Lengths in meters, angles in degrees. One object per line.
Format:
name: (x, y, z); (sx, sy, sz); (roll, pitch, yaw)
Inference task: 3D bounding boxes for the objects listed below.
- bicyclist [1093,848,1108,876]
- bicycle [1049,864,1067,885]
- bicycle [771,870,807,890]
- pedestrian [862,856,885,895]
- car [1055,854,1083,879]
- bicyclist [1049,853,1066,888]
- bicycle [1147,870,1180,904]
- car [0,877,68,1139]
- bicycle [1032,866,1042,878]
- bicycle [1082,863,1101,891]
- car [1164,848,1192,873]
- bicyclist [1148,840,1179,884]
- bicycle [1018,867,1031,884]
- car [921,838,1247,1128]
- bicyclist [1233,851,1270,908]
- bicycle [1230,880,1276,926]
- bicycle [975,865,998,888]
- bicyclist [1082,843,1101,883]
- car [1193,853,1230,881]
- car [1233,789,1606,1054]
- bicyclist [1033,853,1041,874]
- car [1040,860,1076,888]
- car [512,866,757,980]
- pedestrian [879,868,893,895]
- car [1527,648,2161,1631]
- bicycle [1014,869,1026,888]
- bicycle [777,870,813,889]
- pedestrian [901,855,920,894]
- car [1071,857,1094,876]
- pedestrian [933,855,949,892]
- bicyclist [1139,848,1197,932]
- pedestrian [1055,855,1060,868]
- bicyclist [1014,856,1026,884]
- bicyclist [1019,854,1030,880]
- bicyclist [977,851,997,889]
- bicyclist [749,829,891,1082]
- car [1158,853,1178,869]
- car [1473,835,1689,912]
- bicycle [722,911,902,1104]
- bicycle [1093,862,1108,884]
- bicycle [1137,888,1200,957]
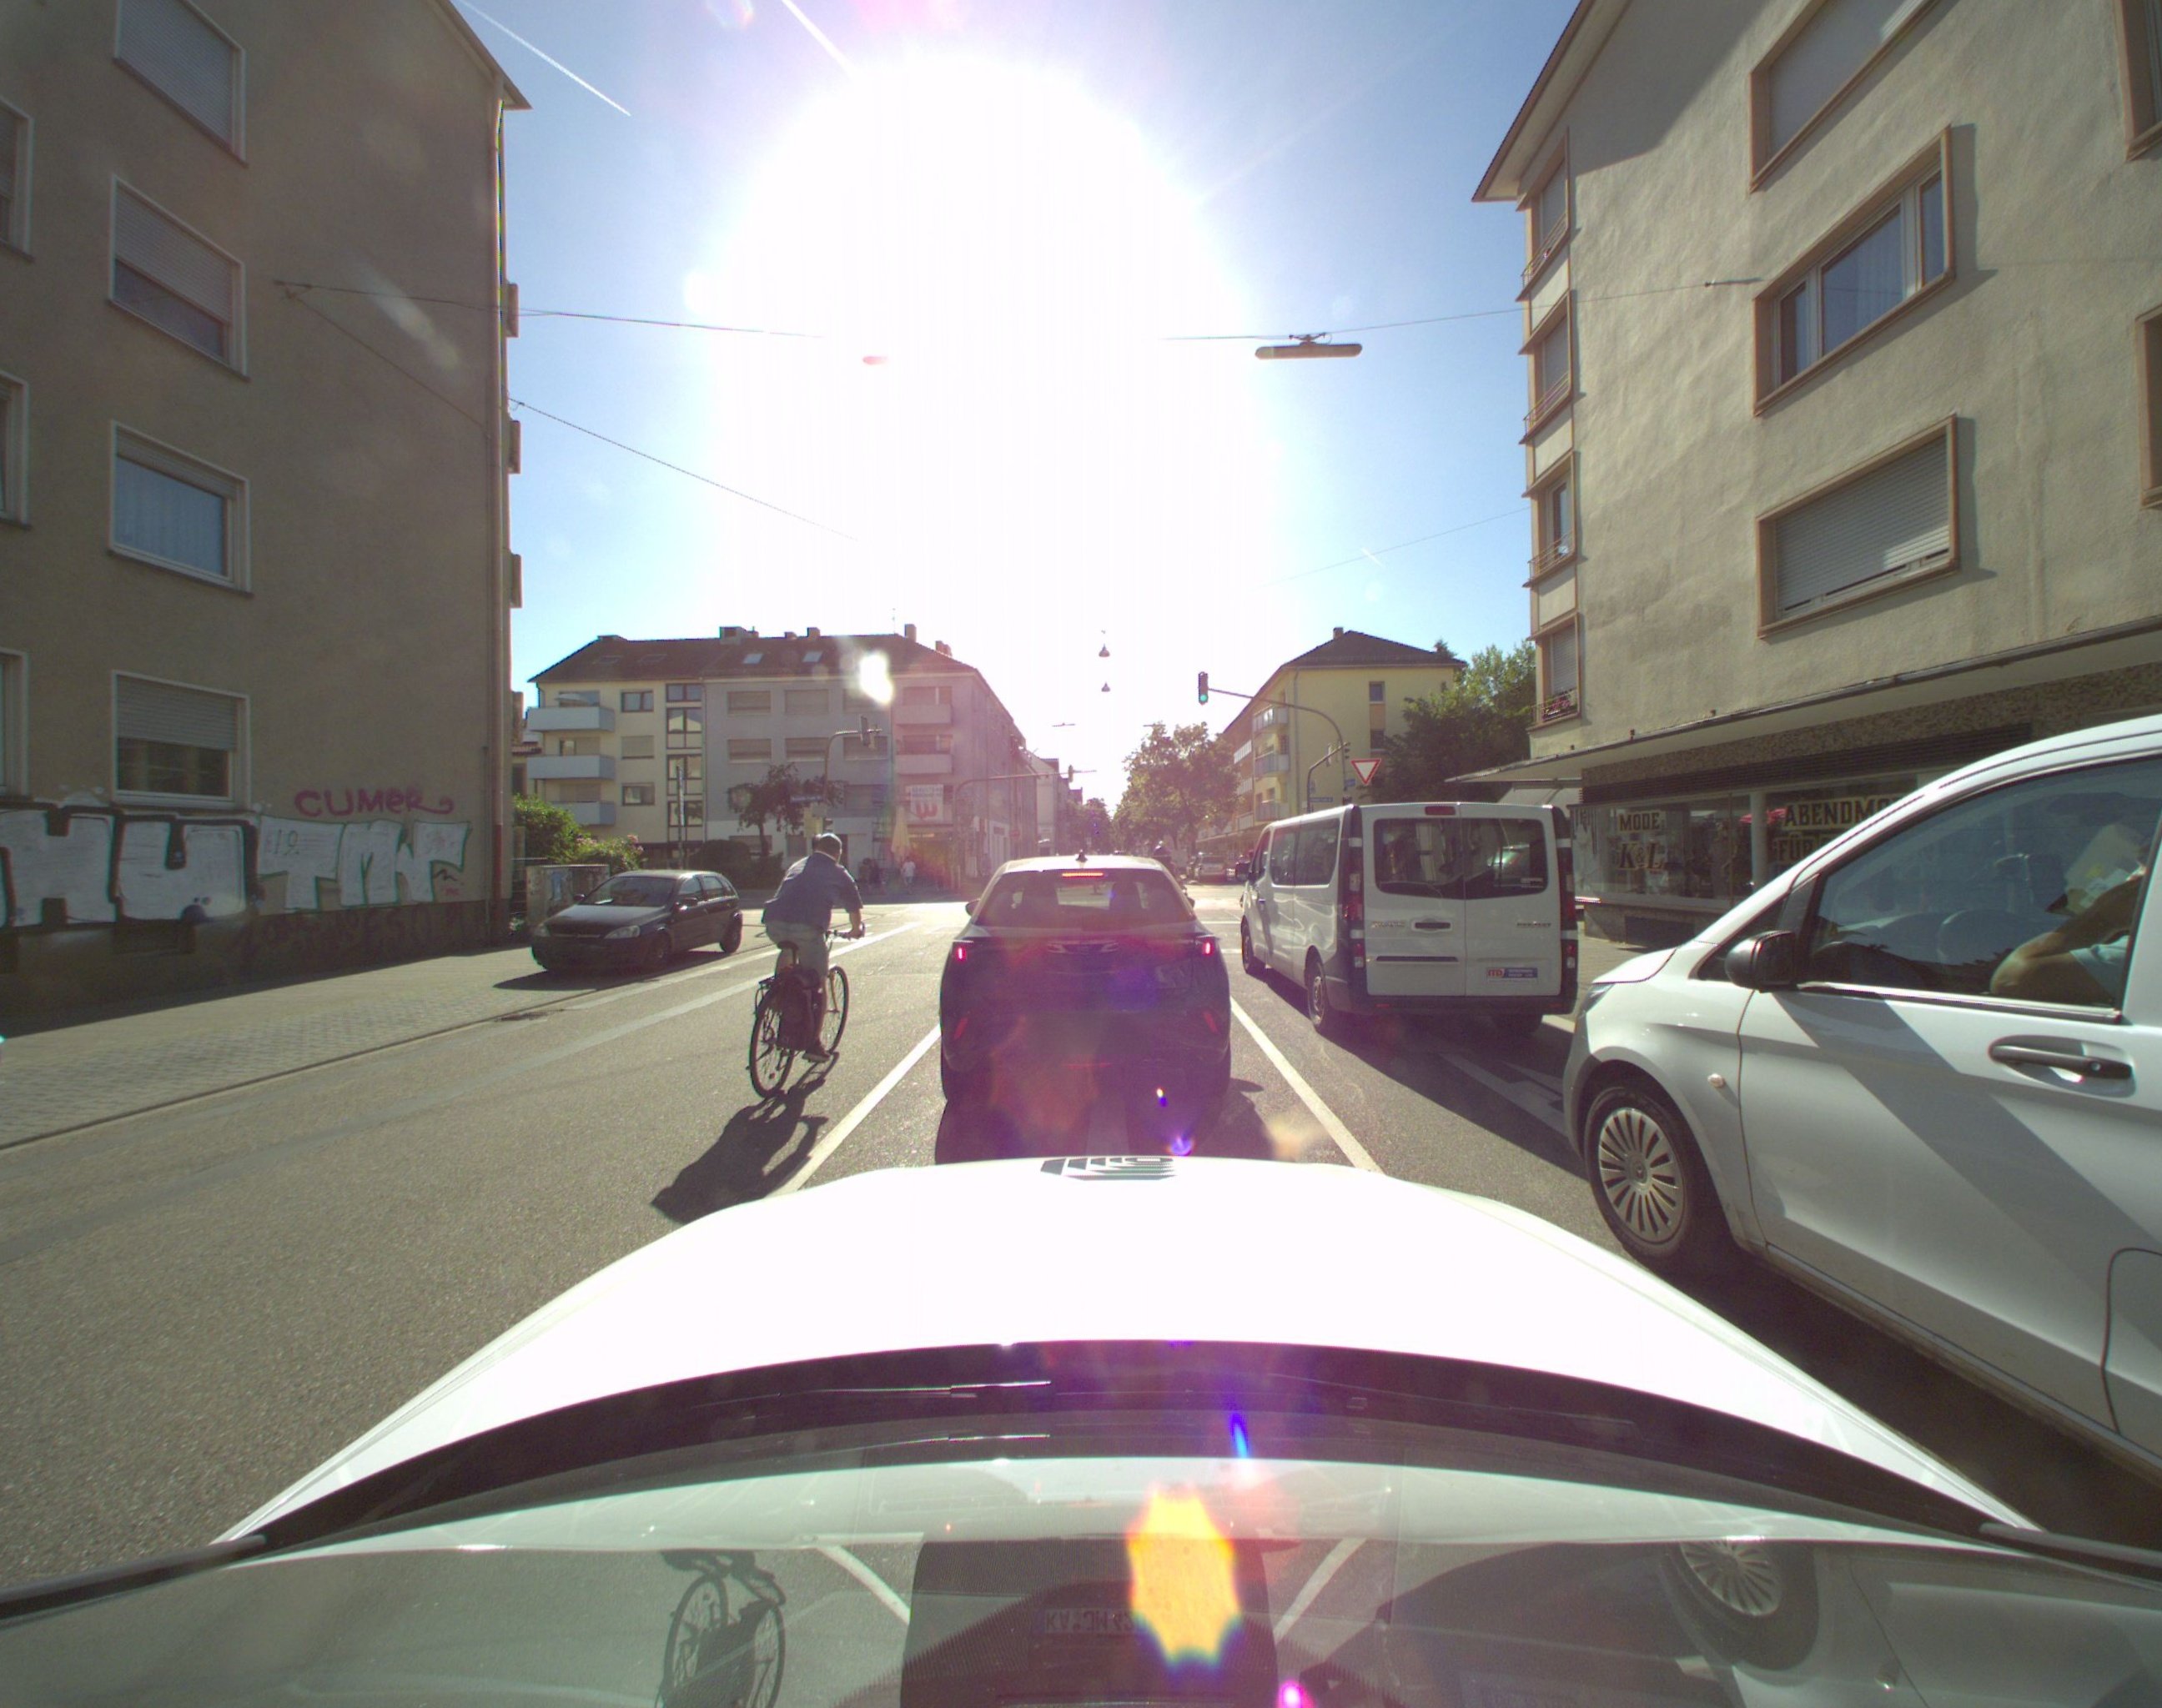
bicyclist: (1.190, 0.488, 49.160); (0.798, 1.649, 1.126); (-1, 0, 3)
bicycle: (-1.083, 0.962, 38.745); (0.677, 0.952, 1.934); (-3, 0, 2)
bicycle: (-14.564, 1.294, 40.654); (1.582, 0.940, 0.513); (-1, 0, 3)
pedestrian: (-9.201, 0.927, 36.115); (0.569, 1.683, 0.971); (-1, 0, 11)
car: (-0.762, 0.804, 53.510); (1.586, 1.566, 4.091); (-2, -1, 2)
bicyclist: (-1.097, 0.778, 38.708); (0.677, 1.576, 0.899); (-3, 0, 2)
bicycle: (2.528, 0.987, 25.160); (0.853, 0.945, 2.308); (1, 0, 2)
car: (-7.201, 0.887, 2.614); (1.817, 1.503, 4.802); (1, 0, 1)
bicycle: (-3.177, 1.314, 58.933); (0.551, 0.833, 2.132); (0, 0, 2)
bicycle: (0.442, 0.937, 33.721); (0.714, 1.064, 1.873); (-2, -1, 2)
car: (7.710, 0.480, 64.996); (2.037, 1.846, 4.589); (-1, 0, 4)
bicyclist: (2.545, 0.231, 25.263); (0.853, 1.314, 1.211); (1, 0, 2)
bicycle: (-3.261, 1.225, 47.314); (0.540, 0.902, 1.827); (-1, 0, 2)
car: (0.077, 0.719, 6.464); (1.756, 1.558, 4.001); (-1, 0, 2)
bicyclist: (3.689, 0.549, 17.654); (0.689, 1.193, 0.595); (-1, 0, 3)
bicycle: (3.693, 1.041, 17.608); (0.688, 0.866, 1.878); (-1, 0, 3)
bicycle: (-4.163, 0.987, 36.013); (0.677, 0.952, 1.934); (-3, 0, 2)
bicyclist: (0.422, 0.386, 33.724); (0.714, 1.620, 0.946); (-2, -1, 2)
car: (7.487, 0.728, 46.989); (1.706, 1.483, 3.482); (-1, 0, 2)
car: (2.971, 0.508, 8.542); (1.961, 1.940, 5.057); (0, 0, 2)
bicyclist: (-3.173, 0.696, 58.939); (0.551, 1.549, 0.815); (0, 0, 2)
car: (-1.265, 1.097, 46.394); (1.830, 1.433, 4.177); (-1, 0, 1)
car: (-6.780, 0.953, 12.908); (1.685, 1.448, 3.856); (1, 0, 0)
pedestrian: (-8.648, 1.213, 36.145); (0.383, 1.146, 0.533); (-1, 0, 9)
car: (2.959, 0.511, 1.221); (1.961, 1.810, 4.833); (-1, 0, 1)
bicycle: (-3.094, 1.248, 41.213); (0.541, 0.902, 1.824); (-1, 0, -2)
bicycle: (-14.477, 1.287, 41.244); (1.582, 0.940, 0.513); (-1, 0, 3)
pedestrian: (-7.346, 0.882, 35.168); (0.570, 1.689, 0.671); (-1, 0, 7)
car: (0.156, 1.040, 68.562); (1.799, 1.413, 4.425); (-3, 0, 0)
pedestrian: (-6.069, 0.851, 35.225); (0.529, 1.581, 0.563); (-1, 0, 5)
bicyclist: (1.428, 0.571, 13.585); (0.853, 1.314, 1.211); (1, 0, 2)
pedestrian: (-2.844, 0.863, 97.162); (0.575, 1.583, 0.707); (-1, 0, -3)
bicyclist: (-3.103, 0.825, 41.294); (0.541, 1.391, 0.788); (-1, 0, -3)
bicyclist: (-3.271, 0.737, 47.338); (0.540, 1.520, 0.774); (-1, 0, 2)
bicyclist: (-4.178, 0.686, 36.080); (0.677, 1.630, 0.899); (-3, 0, 2)
bicyclist: (-1.862, 0.679, 5.951); (0.630, 1.669, 1.051); (-2, 0, 2)
car: (8.348, 0.656, 78.126); (1.706, 1.483, 3.383); (-1, 0, 2)
car: (11.730, 0.438, 19.319); (3.972, 1.662, 1.826); (-1, 0, 2)
bicycle: (-1.851, 1.010, 5.903); (0.630, 1.041, 1.796); (-2, 0, 2)
bicycle: (1.201, 1.133, 49.052); (0.798, 1.255, 2.140); (-1, 0, 3)
bicycle: (1.412, 1.089, 13.584); (0.853, 0.945, 2.308); (1, 0, 2)
